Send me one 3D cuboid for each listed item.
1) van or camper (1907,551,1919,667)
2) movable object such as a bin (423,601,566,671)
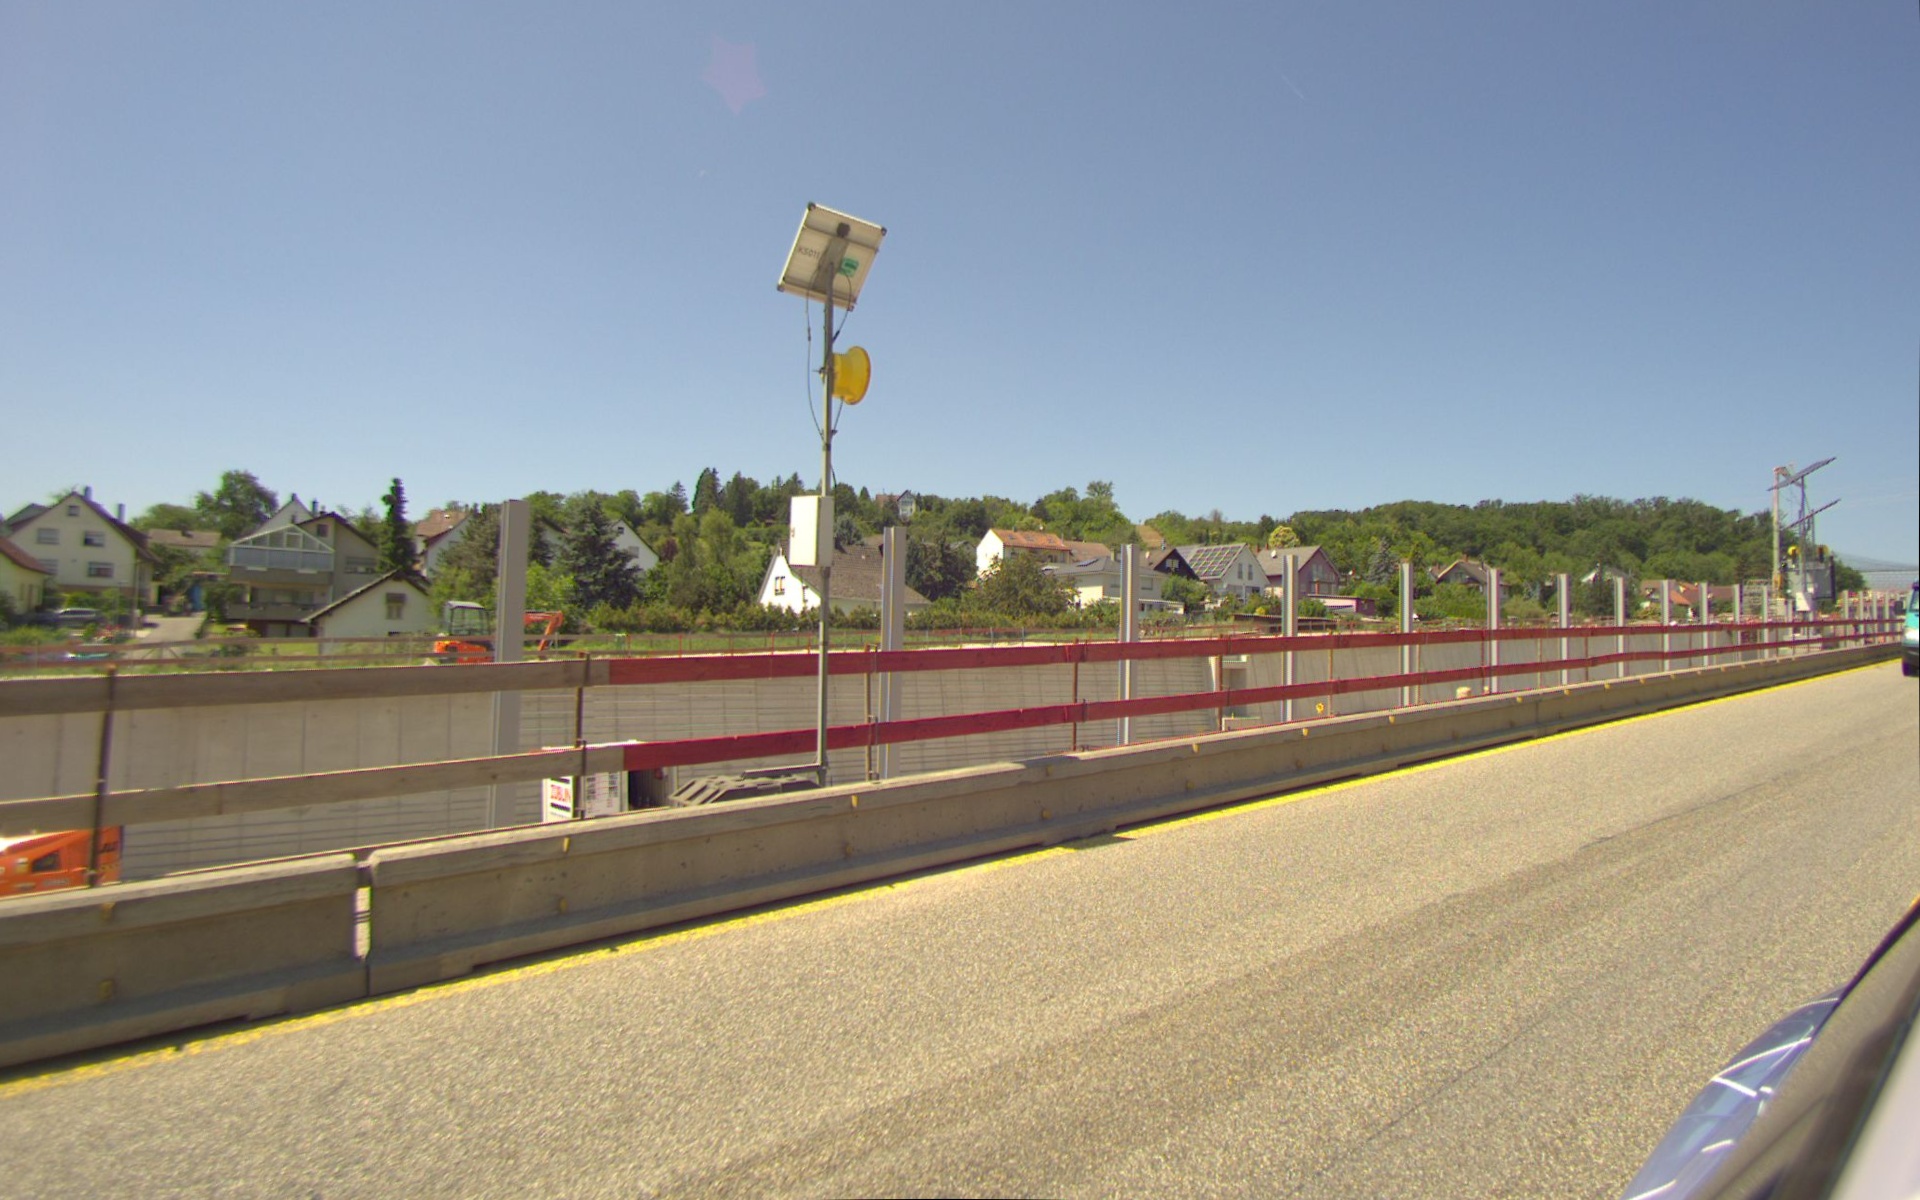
[{"bbox_3d":[24.151,0.248,23.642,7.535,2.505,2.096,1,-1,-40],"label":"van or camper"},{"bbox_3d":[-15.944,1.181,34.731,4.077,2.267,1.997,0,-1,-40],"label":"movable object such as a bin"}]
